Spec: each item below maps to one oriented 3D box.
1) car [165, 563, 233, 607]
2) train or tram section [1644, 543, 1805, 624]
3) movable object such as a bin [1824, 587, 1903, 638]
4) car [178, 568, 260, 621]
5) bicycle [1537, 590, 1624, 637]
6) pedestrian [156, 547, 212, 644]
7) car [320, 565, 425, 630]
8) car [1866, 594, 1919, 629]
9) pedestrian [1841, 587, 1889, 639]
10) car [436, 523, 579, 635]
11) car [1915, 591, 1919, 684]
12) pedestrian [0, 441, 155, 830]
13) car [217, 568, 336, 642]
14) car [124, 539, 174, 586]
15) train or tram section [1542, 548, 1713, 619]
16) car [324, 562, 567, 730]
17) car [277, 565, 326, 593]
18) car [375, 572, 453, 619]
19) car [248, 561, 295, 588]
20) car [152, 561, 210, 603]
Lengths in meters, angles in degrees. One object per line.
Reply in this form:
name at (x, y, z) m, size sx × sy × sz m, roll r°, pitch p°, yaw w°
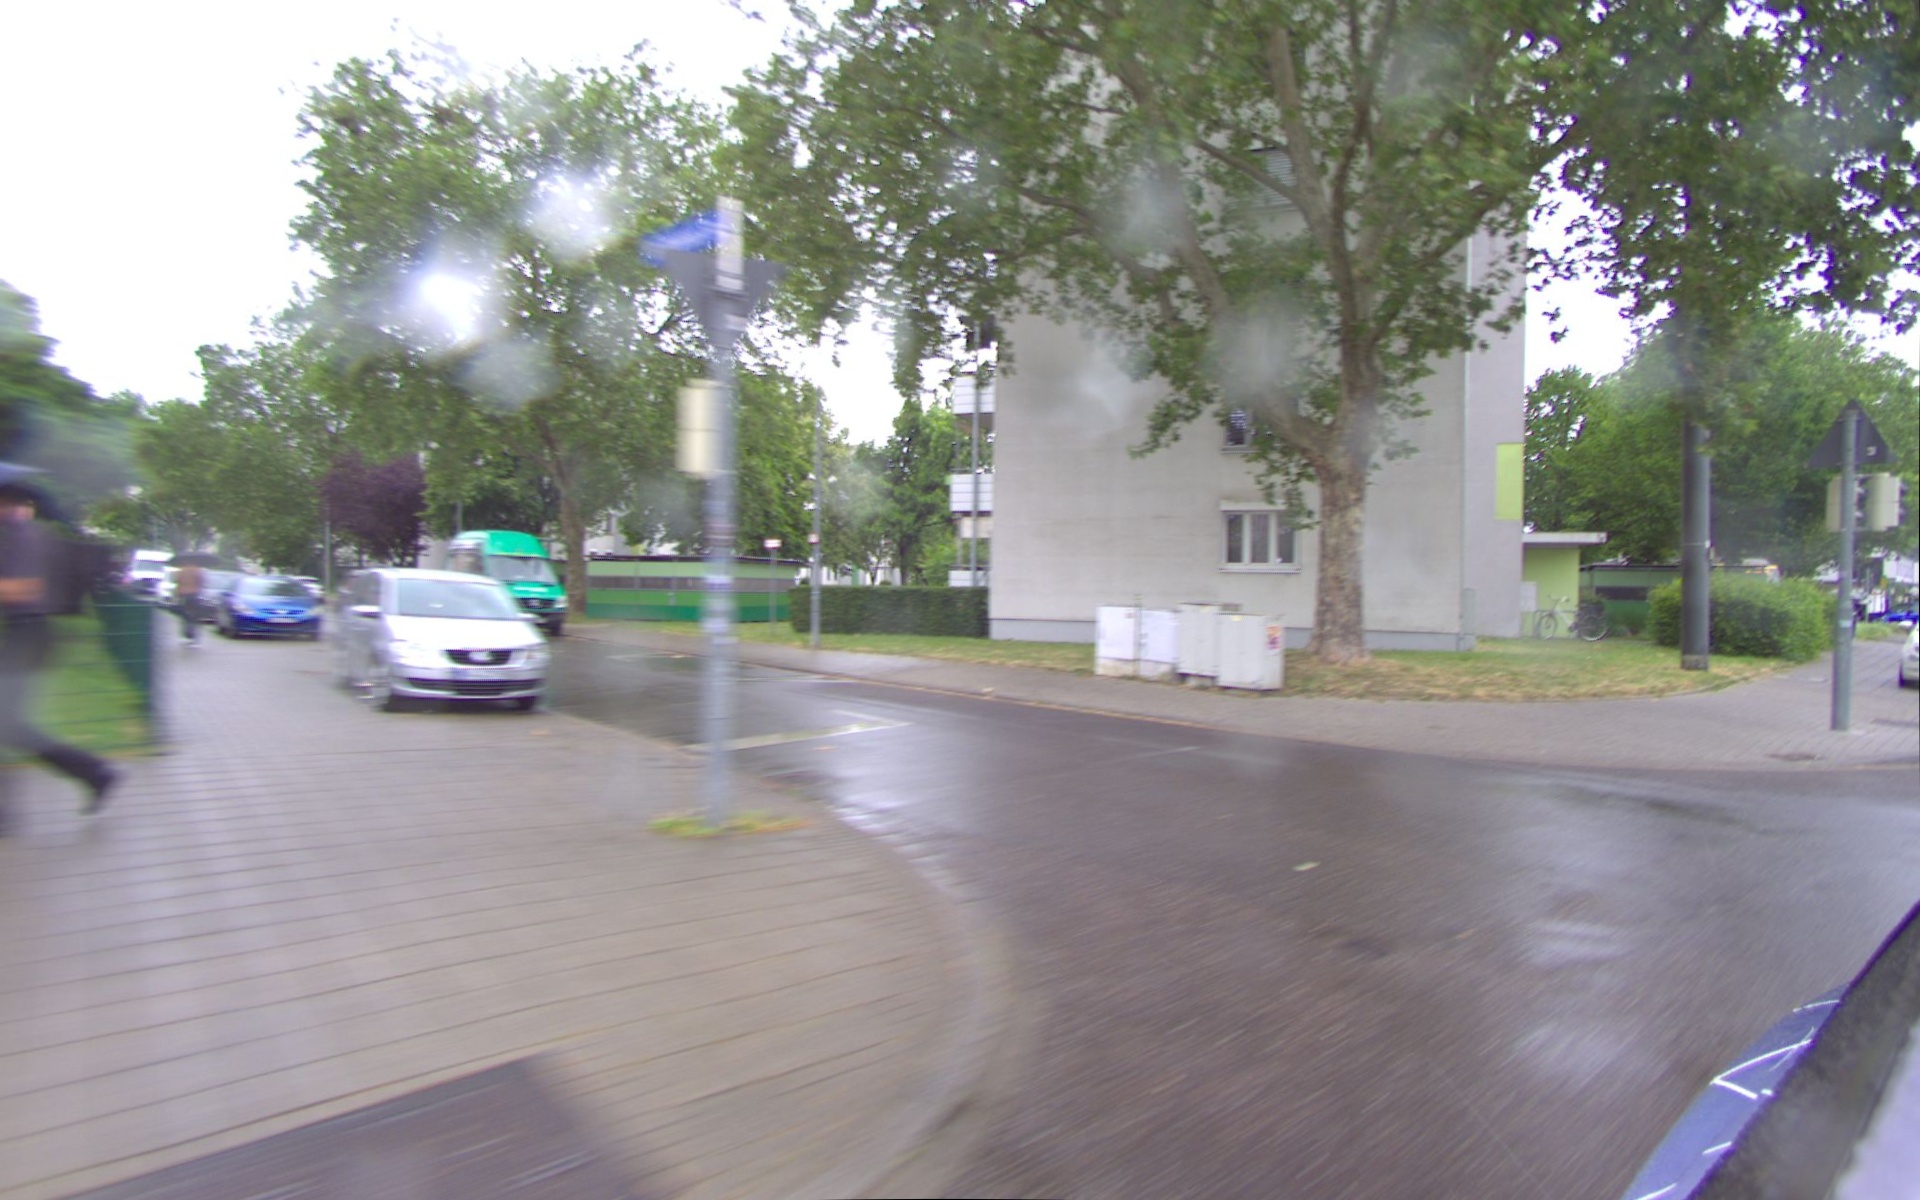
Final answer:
car at (-28.503, -0.595, 37.842) m, size 1.656 × 1.524 × 4.300 m, roll 0°, pitch 2°, yaw -42°
train or tram section at (35.025, -0.778, 46.709) m, size 2.707 × 3.381 × 6.396 m, roll 2°, pitch 1°, yaw 3°
movable object such as a bin at (27.642, 0.364, 31.008) m, size 1.133 × 1.458 × 1.473 m, roll 2°, pitch 1°, yaw 8°
car at (-23.360, -0.208, 31.849) m, size 1.656 × 1.524 × 4.300 m, roll 0°, pitch 2°, yaw -42°
bicycle at (16.125, 0.336, 26.337) m, size 1.841 × 1.156 × 0.529 m, roll 1°, pitch 0°, yaw 24°
pedestrian at (-14.851, -0.101, 19.367) m, size 0.709 × 1.791 × 1.179 m, roll 1°, pitch 0°, yaw -44°
car at (-16.283, -0.111, 27.963) m, size 1.745 × 1.671 × 3.993 m, roll 1°, pitch 1°, yaw -42°
car at (45.312, 0.571, 47.364) m, size 3.943 × 1.546 × 1.712 m, roll 2°, pitch 1°, yaw 15°
pedestrian at (32.718, 0.460, 36.593) m, size 1.008 × 1.797 × 0.858 m, roll 2°, pitch 1°, yaw 24°
car at (-12.810, -0.596, 28.374) m, size 2.147 × 2.813 × 6.134 m, roll 1°, pitch 1°, yaw -39°
car at (17.919, 0.666, 17.699) m, size 3.933 × 1.538 × 1.560 m, roll 1°, pitch 1°, yaw -44°
pedestrian at (-5.062, 0.154, 5.103) m, size 1.405 × 1.836 × 1.104 m, roll 1°, pitch 0°, yaw -31°
car at (-15.950, 0.054, 23.524) m, size 1.902 × 1.524 × 4.303 m, roll 0°, pitch 2°, yaw -39°
car at (-46.882, -2.174, 58.475) m, size 2.043 × 2.613 × 4.920 m, roll 0°, pitch 2°, yaw -41°
train or tram section at (35.465, -0.912, 54.446) m, size 2.707 × 3.381 × 10.344 m, roll 2°, pitch 1°, yaw 3°
car at (-6.557, 0.414, 12.639) m, size 1.838 × 1.701 × 4.303 m, roll 0°, pitch 2°, yaw -39°
car at (-35.493, -1.166, 54.525) m, size 1.709 × 1.409 × 4.001 m, roll 0°, pitch 2°, yaw -40°
car at (-19.348, -0.203, 35.802) m, size 1.709 × 1.524 × 4.002 m, roll 0°, pitch 2°, yaw -39°
car at (-41.357, -1.531, 60.744) m, size 1.711 × 1.524 × 3.997 m, roll 0°, pitch 2°, yaw -43°
car at (-33.650, -0.794, 43.695) m, size 1.656 × 1.676 × 4.300 m, roll 0°, pitch 2°, yaw -42°
